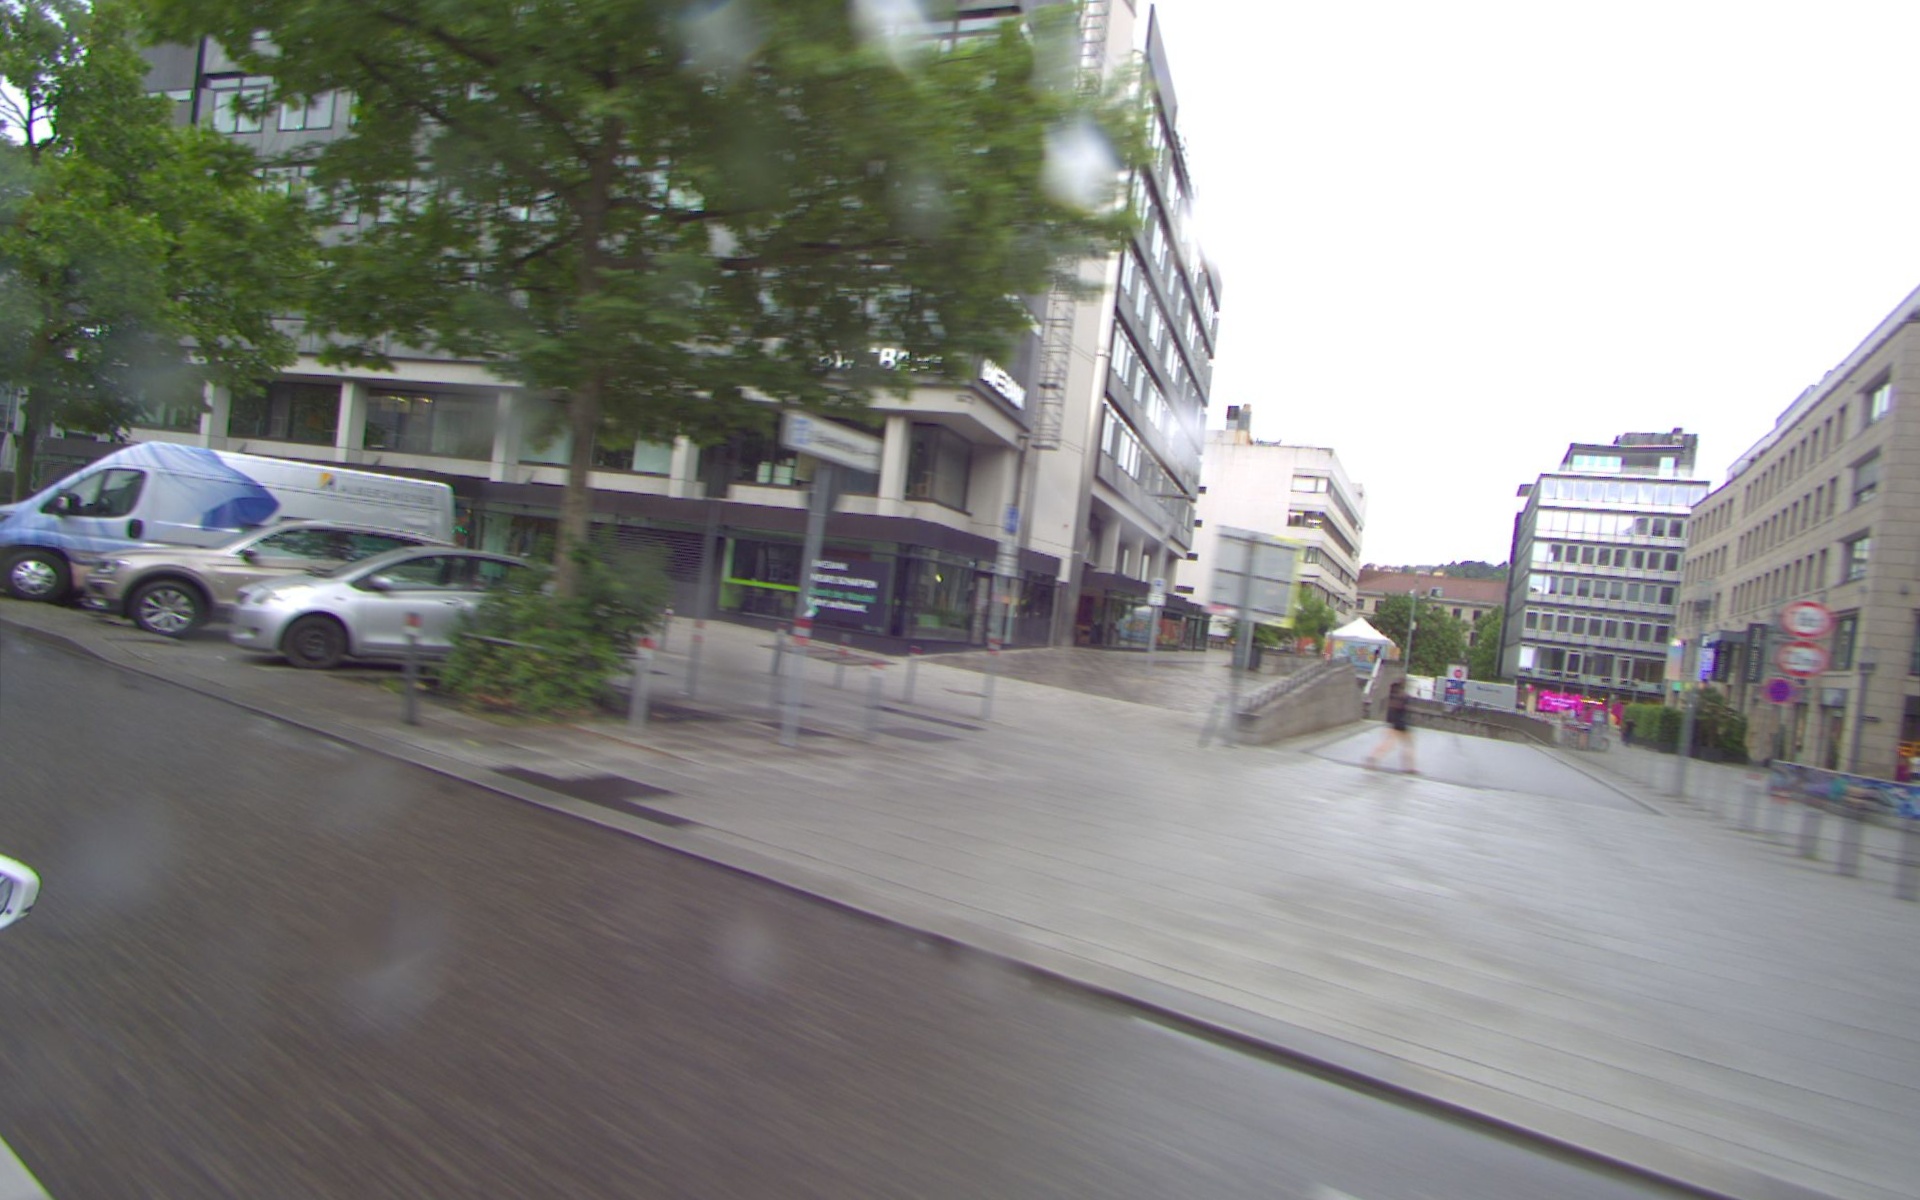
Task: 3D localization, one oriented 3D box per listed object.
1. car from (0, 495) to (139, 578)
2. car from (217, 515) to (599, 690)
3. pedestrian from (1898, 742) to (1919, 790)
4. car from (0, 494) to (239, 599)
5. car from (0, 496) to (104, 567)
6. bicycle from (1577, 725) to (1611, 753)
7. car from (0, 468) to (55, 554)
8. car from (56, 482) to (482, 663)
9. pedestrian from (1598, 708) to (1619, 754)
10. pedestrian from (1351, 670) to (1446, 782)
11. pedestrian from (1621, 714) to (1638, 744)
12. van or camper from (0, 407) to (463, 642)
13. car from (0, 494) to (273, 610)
[{"bbox_3d":[-20.139,-1.468,21.009,4.334,1.453,1.747,7,-1,-32],"label":"car"},{"bbox_3d":[-6.464,0.076,11.949,3.633,1.565,1.696,8,-1,-39],"label":"car"},{"bbox_3d":[39.286,6.834,41.150,1.068,1.852,0.726,7,0,31],"label":"pedestrian"},{"bbox_3d":[-16.113,-1.020,18.716,4.170,1.453,1.706,7,-1,-32],"label":"car"},{"bbox_3d":[-22.509,-1.727,22.624,4.585,1.412,1.834,6,0,-30],"label":"car"},{"bbox_3d":[28.277,6.201,44.868,1.176,1.052,0.350,6,-1,32],"label":"bicycle"},{"bbox_3d":[-25.213,-2.415,24.066,4.901,2.003,1.913,6,1,-32],"label":"car"},{"bbox_3d":[-8.813,-0.278,13.275,4.228,1.687,1.803,8,-1,-32],"label":"car"},{"bbox_3d":[30.036,6.043,46.632,0.562,2.038,0.705,7,0,30],"label":"pedestrian"},{"bbox_3d":[7.384,2.114,16.939,1.176,1.716,0.800,8,-1,-34],"label":"pedestrian"},{"bbox_3d":[39.060,7.527,58.699,0.677,1.651,0.682,7,0,34],"label":"pedestrian"},{"bbox_3d":[-11.095,-1.007,15.293,6.021,2.589,2.088,7,-1,-31],"label":"van or camper"},{"bbox_3d":[-14.466,-0.836,17.136,4.357,1.453,1.925,7,-1,-32],"label":"car"}]
